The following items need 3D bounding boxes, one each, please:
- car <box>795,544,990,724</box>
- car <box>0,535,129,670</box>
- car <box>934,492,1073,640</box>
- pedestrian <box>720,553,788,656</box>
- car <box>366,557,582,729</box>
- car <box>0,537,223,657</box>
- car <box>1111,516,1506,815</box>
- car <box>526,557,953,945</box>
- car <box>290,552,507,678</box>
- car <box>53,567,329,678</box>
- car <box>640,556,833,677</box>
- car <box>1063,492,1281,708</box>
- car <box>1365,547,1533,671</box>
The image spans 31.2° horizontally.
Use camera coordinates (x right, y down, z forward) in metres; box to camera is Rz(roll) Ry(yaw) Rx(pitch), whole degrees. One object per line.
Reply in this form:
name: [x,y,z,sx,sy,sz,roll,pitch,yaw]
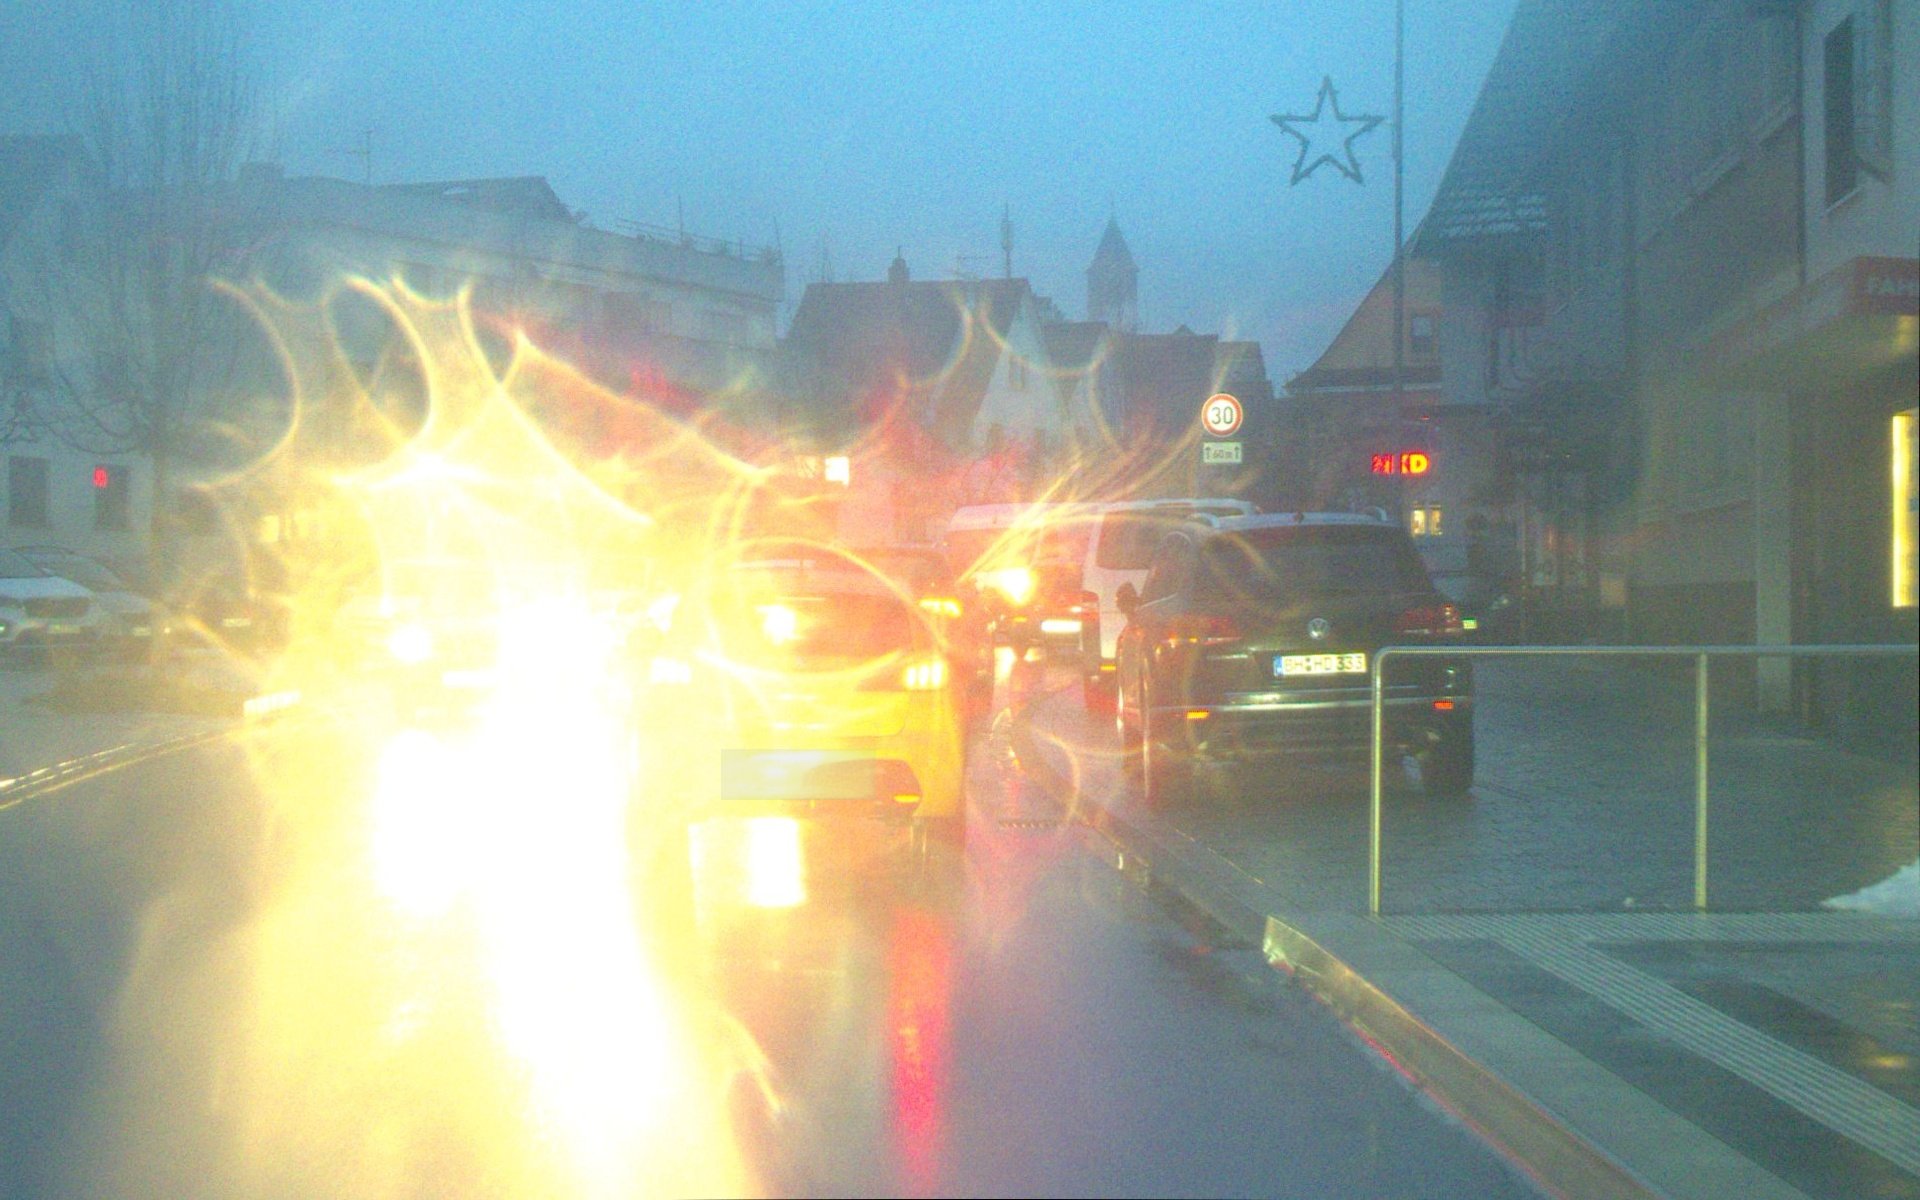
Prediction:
car: [-0.708,0.294,33.872,1.797,1.656,4.000,1,1,-2]
car: [-12.931,0.044,44.045,4.651,1.648,1.983,-1,0,38]
car: [0.838,-0.633,61.204,2.195,2.482,6.142,-1,1,3]
pedestrian: [-3.737,0.072,62.425,0.755,1.860,1.059,0,0,30]
car: [-4.622,0.369,33.155,1.619,1.475,3.839,-2,1,-2]
car: [-12.250,-0.026,47.680,4.109,1.577,1.717,-1,0,38]
car: [2.066,0.330,21.624,1.974,1.655,4.460,-1,1,0]
car: [-1.097,0.685,18.602,1.993,1.789,4.649,-1,1,-1]
car: [-7.135,0.156,44.095,1.905,1.528,4.256,0,1,3]
car: [-11.243,0.296,50.153,3.997,1.525,1.995,1,1,42]
car: [-3.004,0.193,47.226,1.826,1.513,4.547,-1,1,7]
car: [2.057,-0.045,33.995,1.973,1.953,4.851,-1,1,3]
car: [6.511,0.091,46.101,1.734,1.556,3.663,-2,1,1]
